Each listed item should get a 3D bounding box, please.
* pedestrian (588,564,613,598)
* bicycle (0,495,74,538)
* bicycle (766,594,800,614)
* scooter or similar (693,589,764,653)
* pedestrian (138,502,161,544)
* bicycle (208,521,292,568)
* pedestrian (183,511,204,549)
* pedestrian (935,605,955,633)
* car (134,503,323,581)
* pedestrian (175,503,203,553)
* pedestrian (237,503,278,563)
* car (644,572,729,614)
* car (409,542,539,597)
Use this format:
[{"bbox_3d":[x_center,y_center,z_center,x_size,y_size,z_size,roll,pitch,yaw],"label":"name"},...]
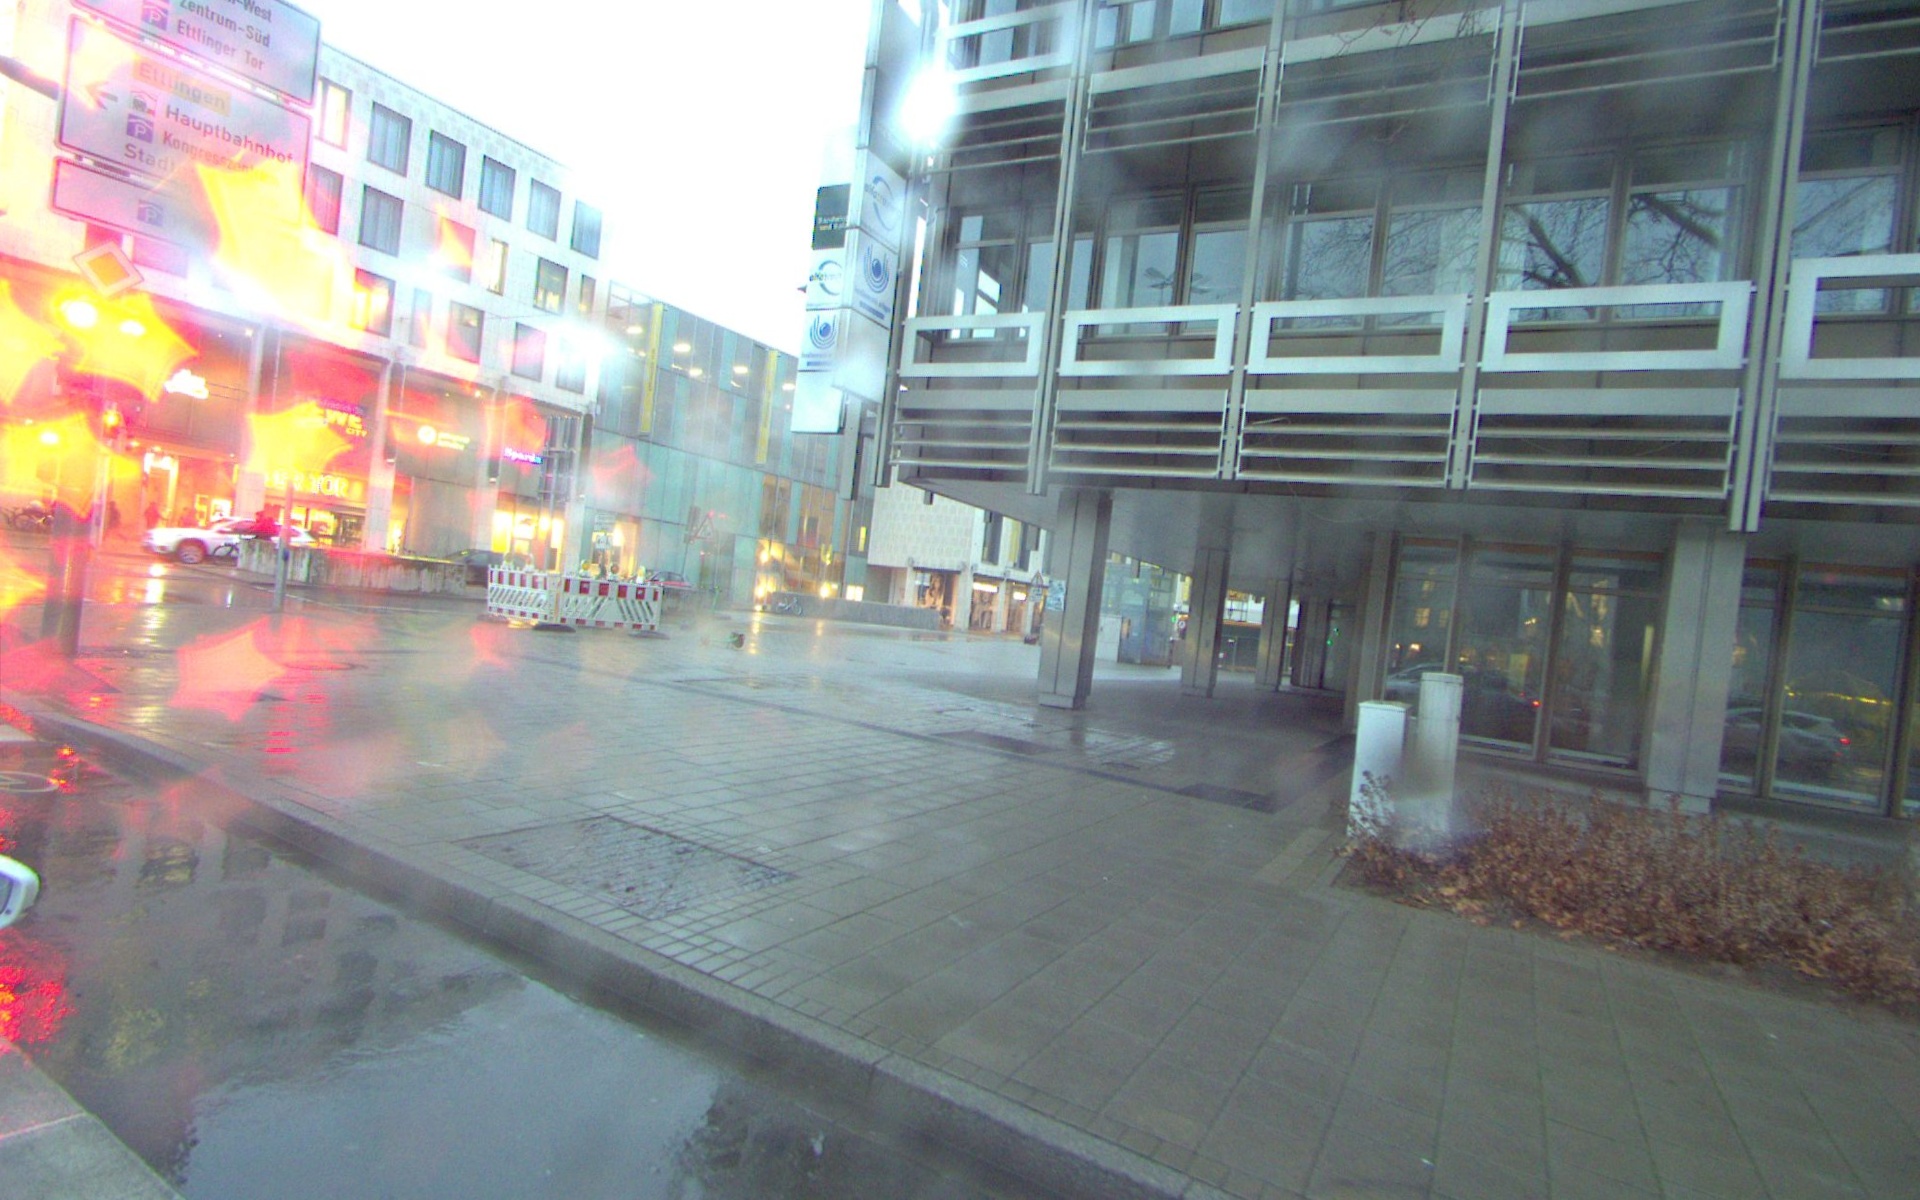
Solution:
[{"bbox_3d":[-18.548,-0.985,51.927,0.697,1.650,0.795,6,-1,32],"label":"pedestrian"},{"bbox_3d":[-36.084,-3.243,39.023,0.623,1.345,2.431,7,0,26],"label":"bicycle"},{"bbox_3d":[-10.926,0.239,62.028,2.101,1.046,0.616,6,0,33],"label":"bicycle"},{"bbox_3d":[-4.670,0.416,20.281,1.215,1.144,0.606,7,0,32],"label":"scooter or similar"},{"bbox_3d":[-35.615,-3.385,44.198,0.529,1.739,0.500,6,1,-21],"label":"pedestrian"},{"bbox_3d":[-20.497,-1.585,29.073,1.839,1.107,0.610,7,0,-44],"label":"bicycle"},{"bbox_3d":[-36.739,-3.348,48.200,0.529,1.739,0.500,6,1,-21],"label":"pedestrian"},{"bbox_3d":[-1.163,1.515,78.586,1.006,2.037,0.906,6,-1,31],"label":"pedestrian"},{"bbox_3d":[-22.435,-1.747,31.020,1.680,1.783,4.305,7,0,34],"label":"car"},{"bbox_3d":[-27.812,-2.586,36.289,0.529,1.706,0.546,6,1,-21],"label":"pedestrian"},{"bbox_3d":[-20.374,-1.949,29.160,0.778,1.615,0.605,6,1,-43],"label":"pedestrian"},{"bbox_3d":[-12.695,-0.304,46.852,1.648,1.601,3.575,6,-1,29],"label":"car"},{"bbox_3d":[-18.074,-1.105,37.568,1.648,1.601,4.056,6,-1,29],"label":"car"}]
